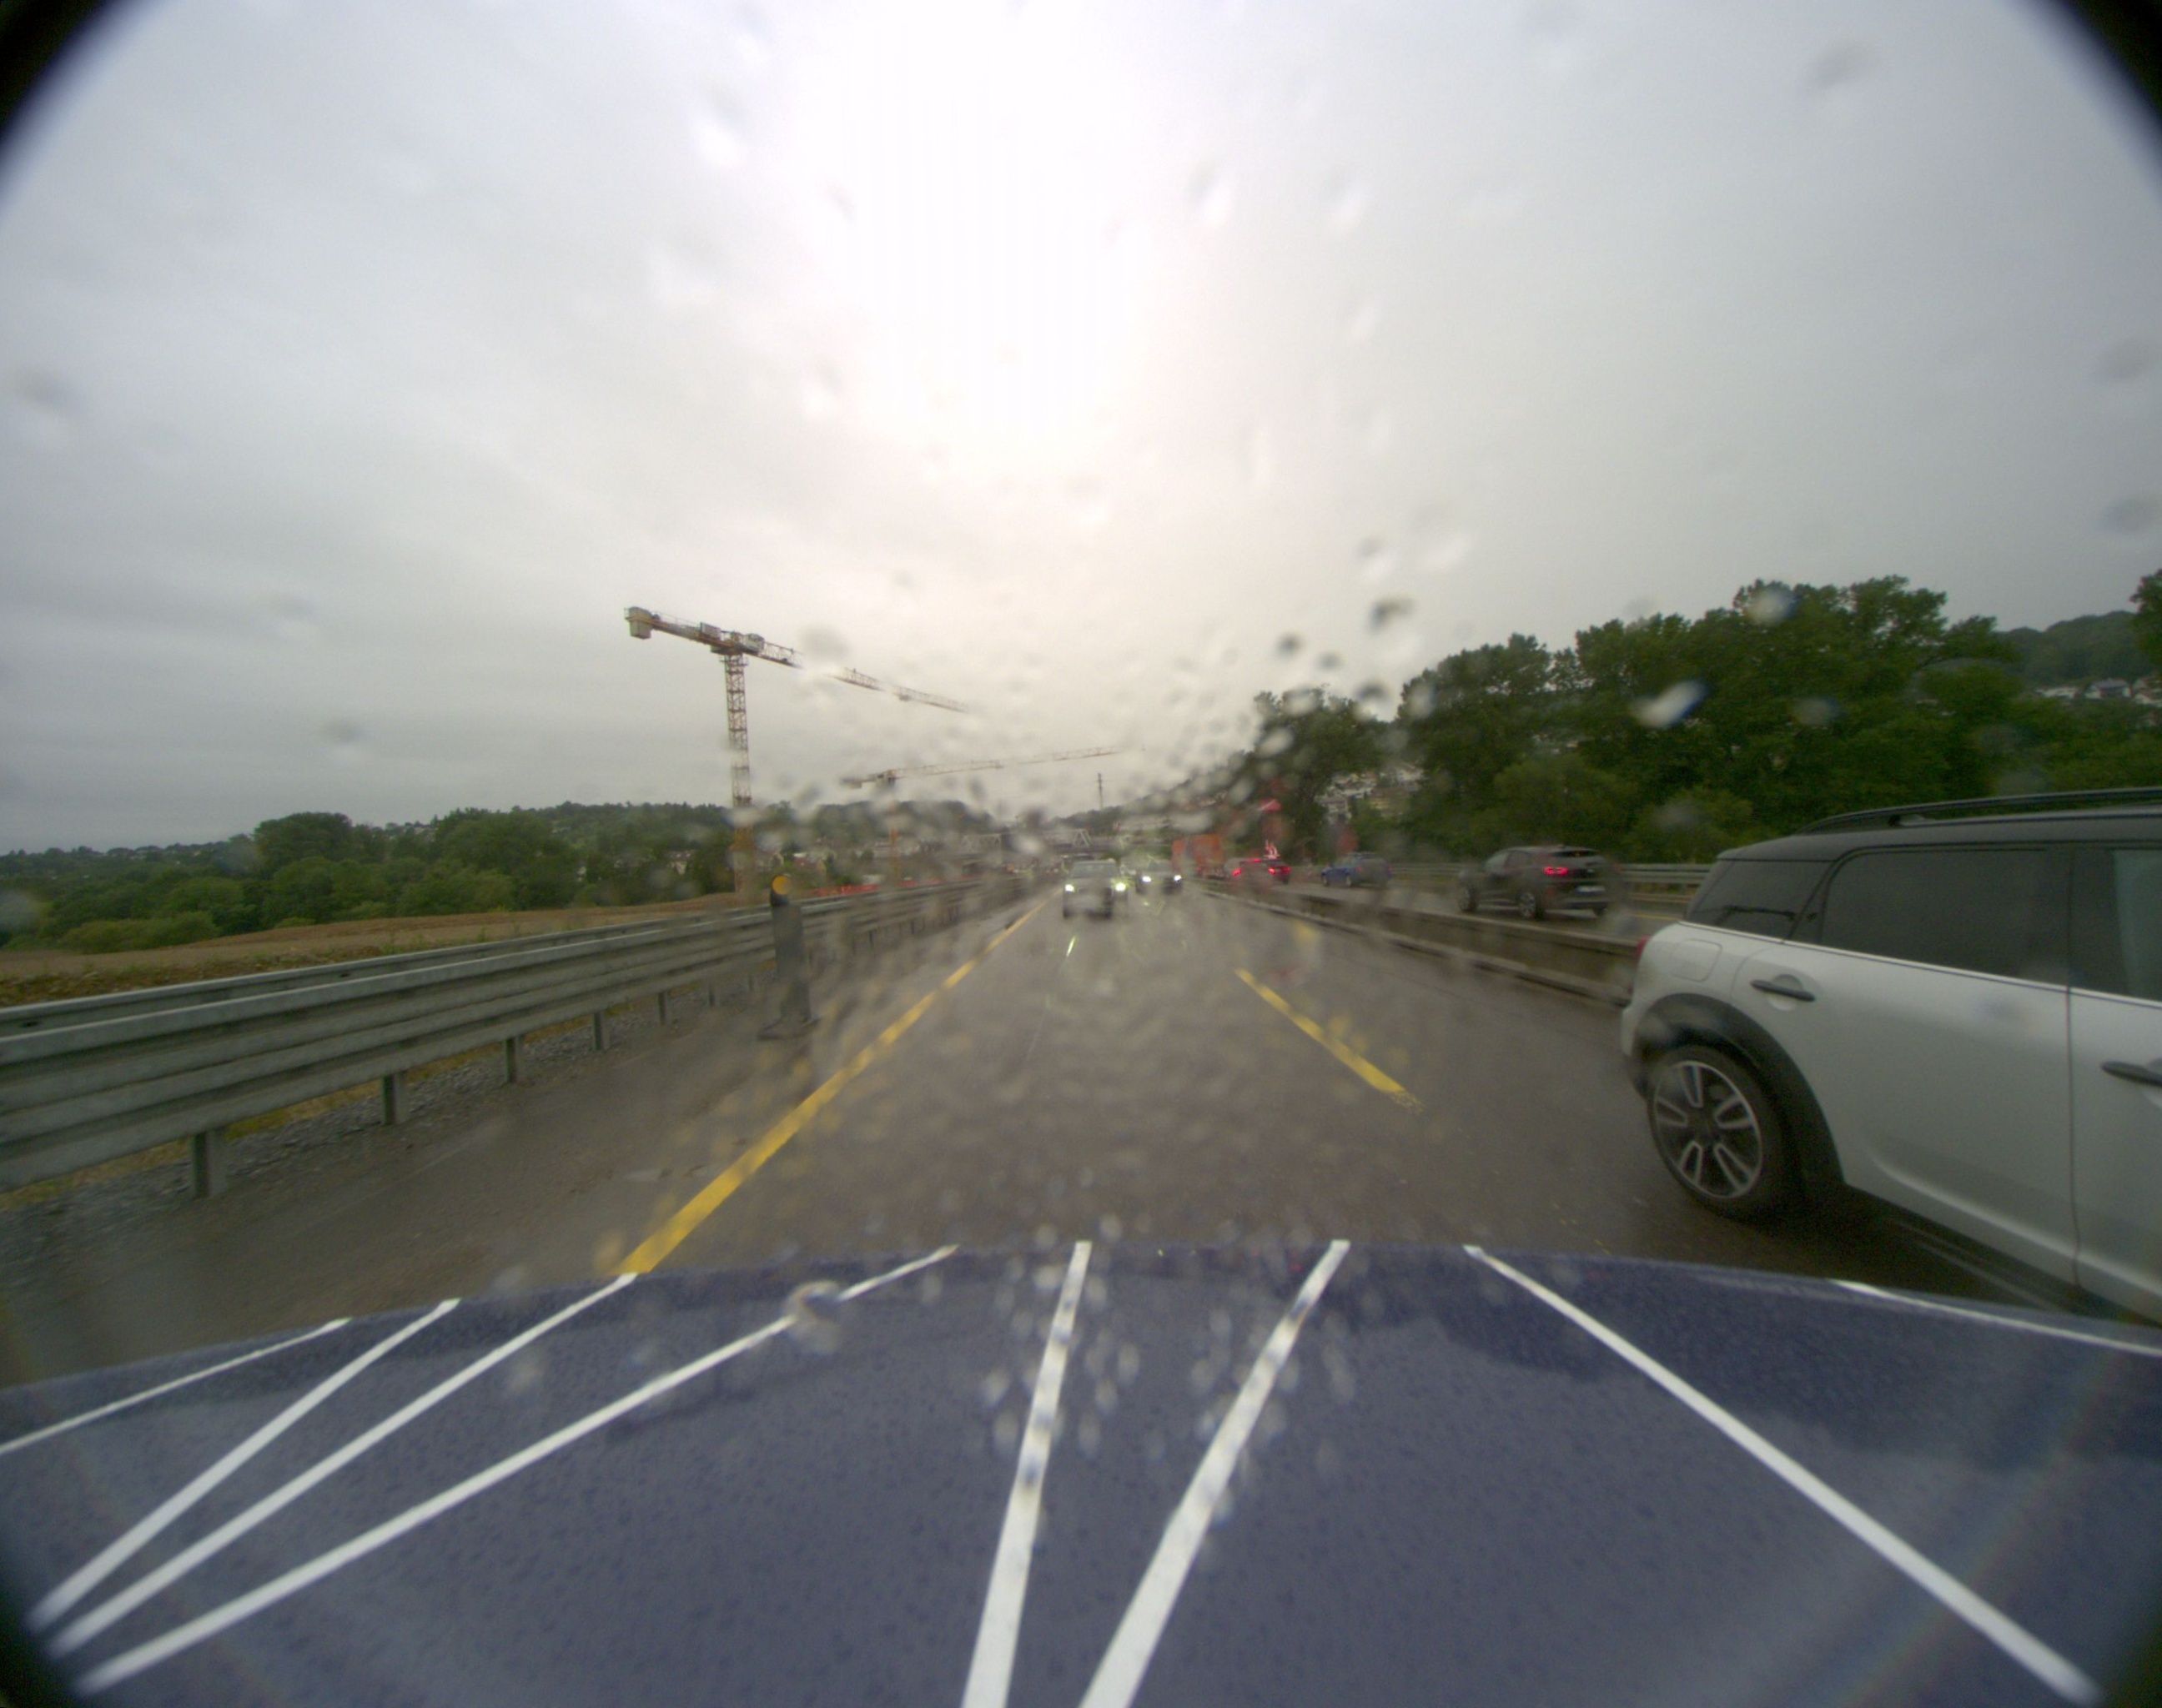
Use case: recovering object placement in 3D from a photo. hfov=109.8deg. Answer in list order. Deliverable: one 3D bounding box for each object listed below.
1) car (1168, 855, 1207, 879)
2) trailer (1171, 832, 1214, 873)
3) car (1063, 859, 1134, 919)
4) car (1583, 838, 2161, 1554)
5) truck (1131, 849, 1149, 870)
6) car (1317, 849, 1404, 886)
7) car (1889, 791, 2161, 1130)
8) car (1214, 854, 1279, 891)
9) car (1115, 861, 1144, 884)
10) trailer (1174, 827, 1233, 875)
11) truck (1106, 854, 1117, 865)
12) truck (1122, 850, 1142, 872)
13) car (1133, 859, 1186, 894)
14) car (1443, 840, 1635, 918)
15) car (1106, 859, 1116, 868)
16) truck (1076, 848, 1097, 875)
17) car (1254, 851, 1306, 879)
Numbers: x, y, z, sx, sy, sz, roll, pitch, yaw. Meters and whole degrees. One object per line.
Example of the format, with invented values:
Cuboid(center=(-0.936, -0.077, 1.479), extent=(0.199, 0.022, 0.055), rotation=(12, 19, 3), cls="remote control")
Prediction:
Cuboid(center=(7.275, 0.838, 52.332), extent=(1.978, 1.501, 4.745), rotation=(-2, 0, -1), cls="car")
Cuboid(center=(11.243, -0.099, 77.190), extent=(3.278, 3.895, 6.352), rotation=(-2, -1, 1), cls="trailer")
Cuboid(center=(0.484, 0.930, 21.938), extent=(1.781, 1.514, 4.141), rotation=(-2, 0, 1), cls="car")
Cuboid(center=(3.329, 0.758, 1.498), extent=(1.820, 1.591, 4.308), rotation=(-2, 0, 1), cls="car")
Cuboid(center=(10.615, 0.915, 137.055), extent=(2.608, 3.605, 6.539), rotation=(-2, 0, 1), cls="truck")
Cuboid(center=(12.847, 0.614, 35.305), extent=(1.999, 1.501, 4.745), rotation=(-2, 0, -4), cls="car")
Cuboid(center=(6.484, 0.527, 2.775), extent=(1.850, 1.738, 4.844), rotation=(0, -1, -1), cls="car")
Cuboid(center=(6.978, 0.773, 32.468), extent=(1.912, 1.440, 4.411), rotation=(0, -1, 1), cls="car")
Cuboid(center=(3.345, 1.249, 53.267), extent=(1.781, 1.430, 4.483), rotation=(-2, 0, 1), cls="car")
Cuboid(center=(11.160, -0.163, 70.977), extent=(3.285, 3.885, 13.700), rotation=(-2, -1, 1), cls="trailer")
Cuboid(center=(8.308, 1.575, 208.051), extent=(2.800, 2.769, 5.497), rotation=(-2, 0, 0), cls="truck")
Cuboid(center=(7.451, 1.011, 112.106), extent=(2.413, 2.976, 6.539), rotation=(-2, 0, 1), cls="truck")
Cuboid(center=(3.543, 0.987, 35.056), extent=(1.951, 1.430, 4.483), rotation=(-2, 0, 1), cls="car")
Cuboid(center=(9.988, 0.539, 16.991), extent=(1.825, 1.488, 4.000), rotation=(-2, -1, -1), cls="car")
Cuboid(center=(6.873, 2.119, 172.530), extent=(2.165, 2.002, 4.479), rotation=(0, 0, 1), cls="car")
Cuboid(center=(0.690, 0.932, 101.413), extent=(2.576, 3.450, 6.626), rotation=(-2, 0, 1), cls="truck")
Cuboid(center=(11.358, 0.592, 43.618), extent=(1.822, 1.501, 4.306), rotation=(-2, 0, 1), cls="car")
